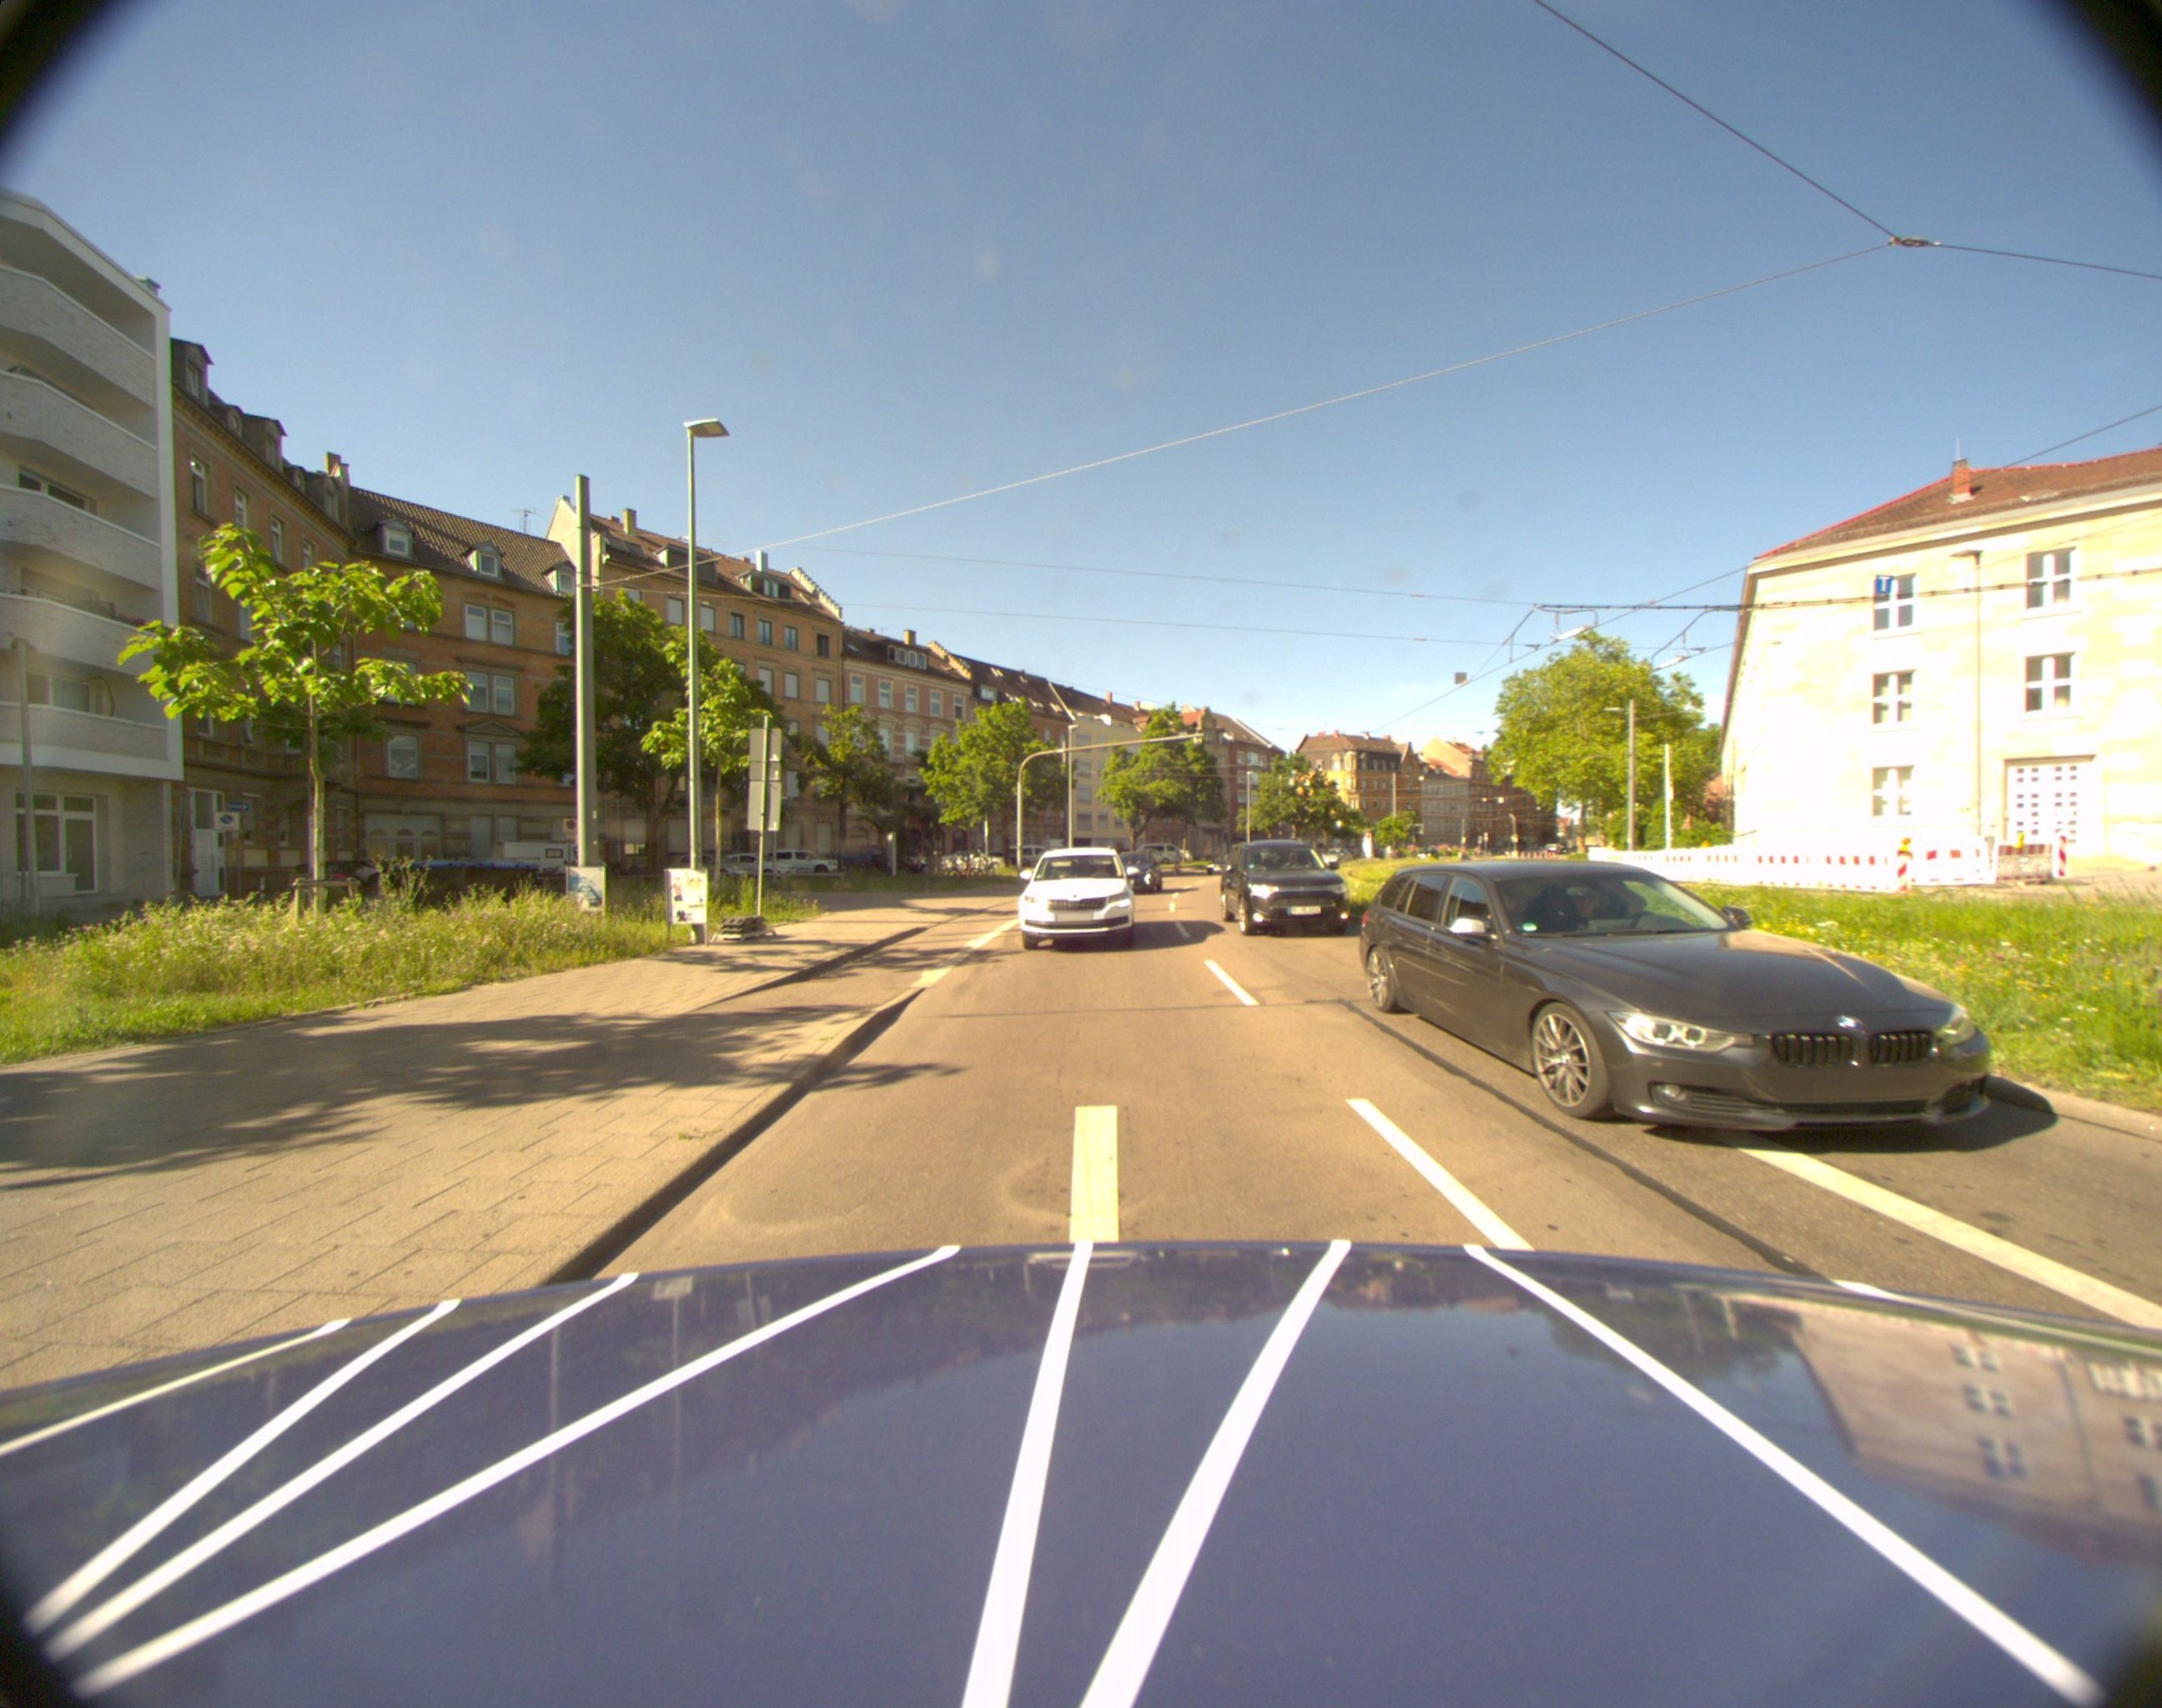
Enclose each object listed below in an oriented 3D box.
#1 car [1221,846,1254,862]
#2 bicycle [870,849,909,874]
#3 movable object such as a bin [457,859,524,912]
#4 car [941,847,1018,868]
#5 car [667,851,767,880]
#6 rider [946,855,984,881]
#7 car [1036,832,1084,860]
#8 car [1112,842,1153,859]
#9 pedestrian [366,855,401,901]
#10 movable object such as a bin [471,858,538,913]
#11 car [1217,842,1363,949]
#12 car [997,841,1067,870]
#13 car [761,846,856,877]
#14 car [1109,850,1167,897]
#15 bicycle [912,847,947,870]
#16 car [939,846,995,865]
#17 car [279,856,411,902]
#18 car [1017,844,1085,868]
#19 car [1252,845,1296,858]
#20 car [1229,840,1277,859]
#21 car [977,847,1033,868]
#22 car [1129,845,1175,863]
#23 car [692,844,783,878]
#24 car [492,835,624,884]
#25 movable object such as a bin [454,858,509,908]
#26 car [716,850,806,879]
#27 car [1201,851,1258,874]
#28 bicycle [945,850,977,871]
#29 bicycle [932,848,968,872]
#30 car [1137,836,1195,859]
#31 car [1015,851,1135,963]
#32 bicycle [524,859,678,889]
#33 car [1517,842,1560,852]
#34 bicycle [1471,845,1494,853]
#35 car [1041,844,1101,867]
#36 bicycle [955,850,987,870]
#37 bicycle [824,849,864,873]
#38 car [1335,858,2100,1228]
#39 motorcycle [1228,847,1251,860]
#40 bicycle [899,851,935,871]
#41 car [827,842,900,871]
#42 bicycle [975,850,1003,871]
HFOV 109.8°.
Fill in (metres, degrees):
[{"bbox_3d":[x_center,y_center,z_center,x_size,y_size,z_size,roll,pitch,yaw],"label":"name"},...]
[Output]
[{"bbox_3d":[20.284,-0.062,98.624,1.997,1.464,4.497,-13,-5,41],"label":"car"},{"bbox_3d":[-10.861,0.444,43.092,2.094,1.390,0.789,-1,1,28],"label":"bicycle"},{"bbox_3d":[-16.379,0.852,21.118,1.323,1.390,1.108,-1,1,-31],"label":"movable object such as a bin"},{"bbox_3d":[-6.809,0.230,51.325,4.747,1.372,2.047,-1,0,5],"label":"car"},{"bbox_3d":[-17.592,0.547,36.771,4.049,1.329,1.841,-1,1,14],"label":"car"},{"bbox_3d":[-5.570,0.661,36.607,1.678,1.169,0.502,-4,3,-34],"label":"rider"},{"bbox_3d":[-1.936,-0.733,71.764,1.994,2.570,4.522,2,2,40],"label":"car"},{"bbox_3d":[5.536,-0.400,81.051,1.994,1.789,4.636,2,1,39],"label":"car"},{"bbox_3d":[-24.781,0.839,26.990,0.641,1.568,0.773,0,2,39],"label":"pedestrian"},{"bbox_3d":[-15.457,0.822,20.411,1.306,1.390,1.069,-1,1,-31],"label":"movable object such as a bin"},{"bbox_3d":[3.778,0.653,14.544,1.840,1.672,4.644,-2,0,5],"label":"car"},{"bbox_3d":[-3.569,0.080,56.180,4.874,2.002,2.101,1,2,5],"label":"car"},{"bbox_3d":[-14.727,0.393,41.182,4.464,1.556,1.939,-1,1,8],"label":"car"},{"bbox_3d":[2.102,0.683,28.932,1.998,1.608,4.264,-1,1,3],"label":"car"},{"bbox_3d":[-9.130,0.262,45.873,2.094,1.357,0.789,0,1,34],"label":"bicycle"},{"bbox_3d":[-9.373,0.090,62.740,1.994,1.520,4.522,2,1,35],"label":"car"},{"bbox_3d":[-25.799,0.821,26.836,2.002,1.428,4.099,-2,1,-24],"label":"car"},{"bbox_3d":[-2.318,0.137,58.718,4.872,1.639,2.102,1,2,10],"label":"car"},{"bbox_3d":[22.913,-0.291,90.424,4.874,1.427,2.021,1,1,6],"label":"car"},{"bbox_3d":[19.134,-0.485,84.740,4.875,2.063,2.021,1,1,4],"label":"car"},{"bbox_3d":[-5.344,0.252,53.729,3.610,1.372,1.926,-1,0,6],"label":"car"},{"bbox_3d":[6.338,-0.009,68.031,4.025,1.470,1.813,1,2,5],"label":"car"},{"bbox_3d":[-21.162,0.421,47.011,1.994,1.966,4.734,2,1,39],"label":"car"},{"bbox_3d":[-26.915,0.257,39.264,2.349,2.344,5.199,2,1,40],"label":"car"},{"bbox_3d":[-17.319,0.817,21.990,1.092,1.390,1.029,-1,1,-31],"label":"movable object such as a bin"},{"bbox_3d":[-16.361,0.536,38.937,3.838,1.433,1.761,-1,1,8],"label":"car"},{"bbox_3d":[10.140,0.576,51.721,1.885,1.419,4.385,0,1,41],"label":"car"},{"bbox_3d":[-7.375,0.384,46.528,1.957,1.185,0.843,2,2,39],"label":"bicycle"},{"bbox_3d":[-7.607,0.335,44.042,2.094,1.357,0.789,0,1,34],"label":"bicycle"},{"bbox_3d":[7.959,-0.652,70.760,5.179,2.002,2.102,1,2,10],"label":"car"},{"bbox_3d":[0.049,0.804,13.749,1.801,1.626,4.394,-1,1,4],"label":"car"},{"bbox_3d":[-21.561,0.861,34.368,2.676,1.120,5.232,-1,1,34],"label":"bicycle"},{"bbox_3d":[64.779,-1.017,107.689,1.839,1.445,4.946,-1,1,-42],"label":"car"},{"bbox_3d":[73.323,-1.001,138.801,1.964,1.408,6.841,1,1,43],"label":"bicycle"},{"bbox_3d":[-0.800,0.119,61.363,4.505,1.718,2.001,1,2,10],"label":"car"},{"bbox_3d":[-6.846,0.366,47.290,1.945,1.174,0.902,1,2,38],"label":"bicycle"},{"bbox_3d":[-14.195,0.416,45.491,2.099,1.357,0.787,-1,1,-2],"label":"bicycle"},{"bbox_3d":[3.457,0.823,5.466,1.738,1.415,4.467,-4,0,1],"label":"car"},{"bbox_3d":[17.166,-0.046,82.206,2.262,1.412,0.854,0,1,-10],"label":"motorcycle"},{"bbox_3d":[-9.754,0.423,45.064,2.163,1.151,0.824,-1,1,35],"label":"bicycle"},{"bbox_3d":[-15.427,0.168,54.160,1.994,1.966,4.734,2,1,39],"label":"car"},{"bbox_3d":[-5.562,0.398,45.853,1.598,1.283,0.769,0,1,-11],"label":"bicycle"}]
